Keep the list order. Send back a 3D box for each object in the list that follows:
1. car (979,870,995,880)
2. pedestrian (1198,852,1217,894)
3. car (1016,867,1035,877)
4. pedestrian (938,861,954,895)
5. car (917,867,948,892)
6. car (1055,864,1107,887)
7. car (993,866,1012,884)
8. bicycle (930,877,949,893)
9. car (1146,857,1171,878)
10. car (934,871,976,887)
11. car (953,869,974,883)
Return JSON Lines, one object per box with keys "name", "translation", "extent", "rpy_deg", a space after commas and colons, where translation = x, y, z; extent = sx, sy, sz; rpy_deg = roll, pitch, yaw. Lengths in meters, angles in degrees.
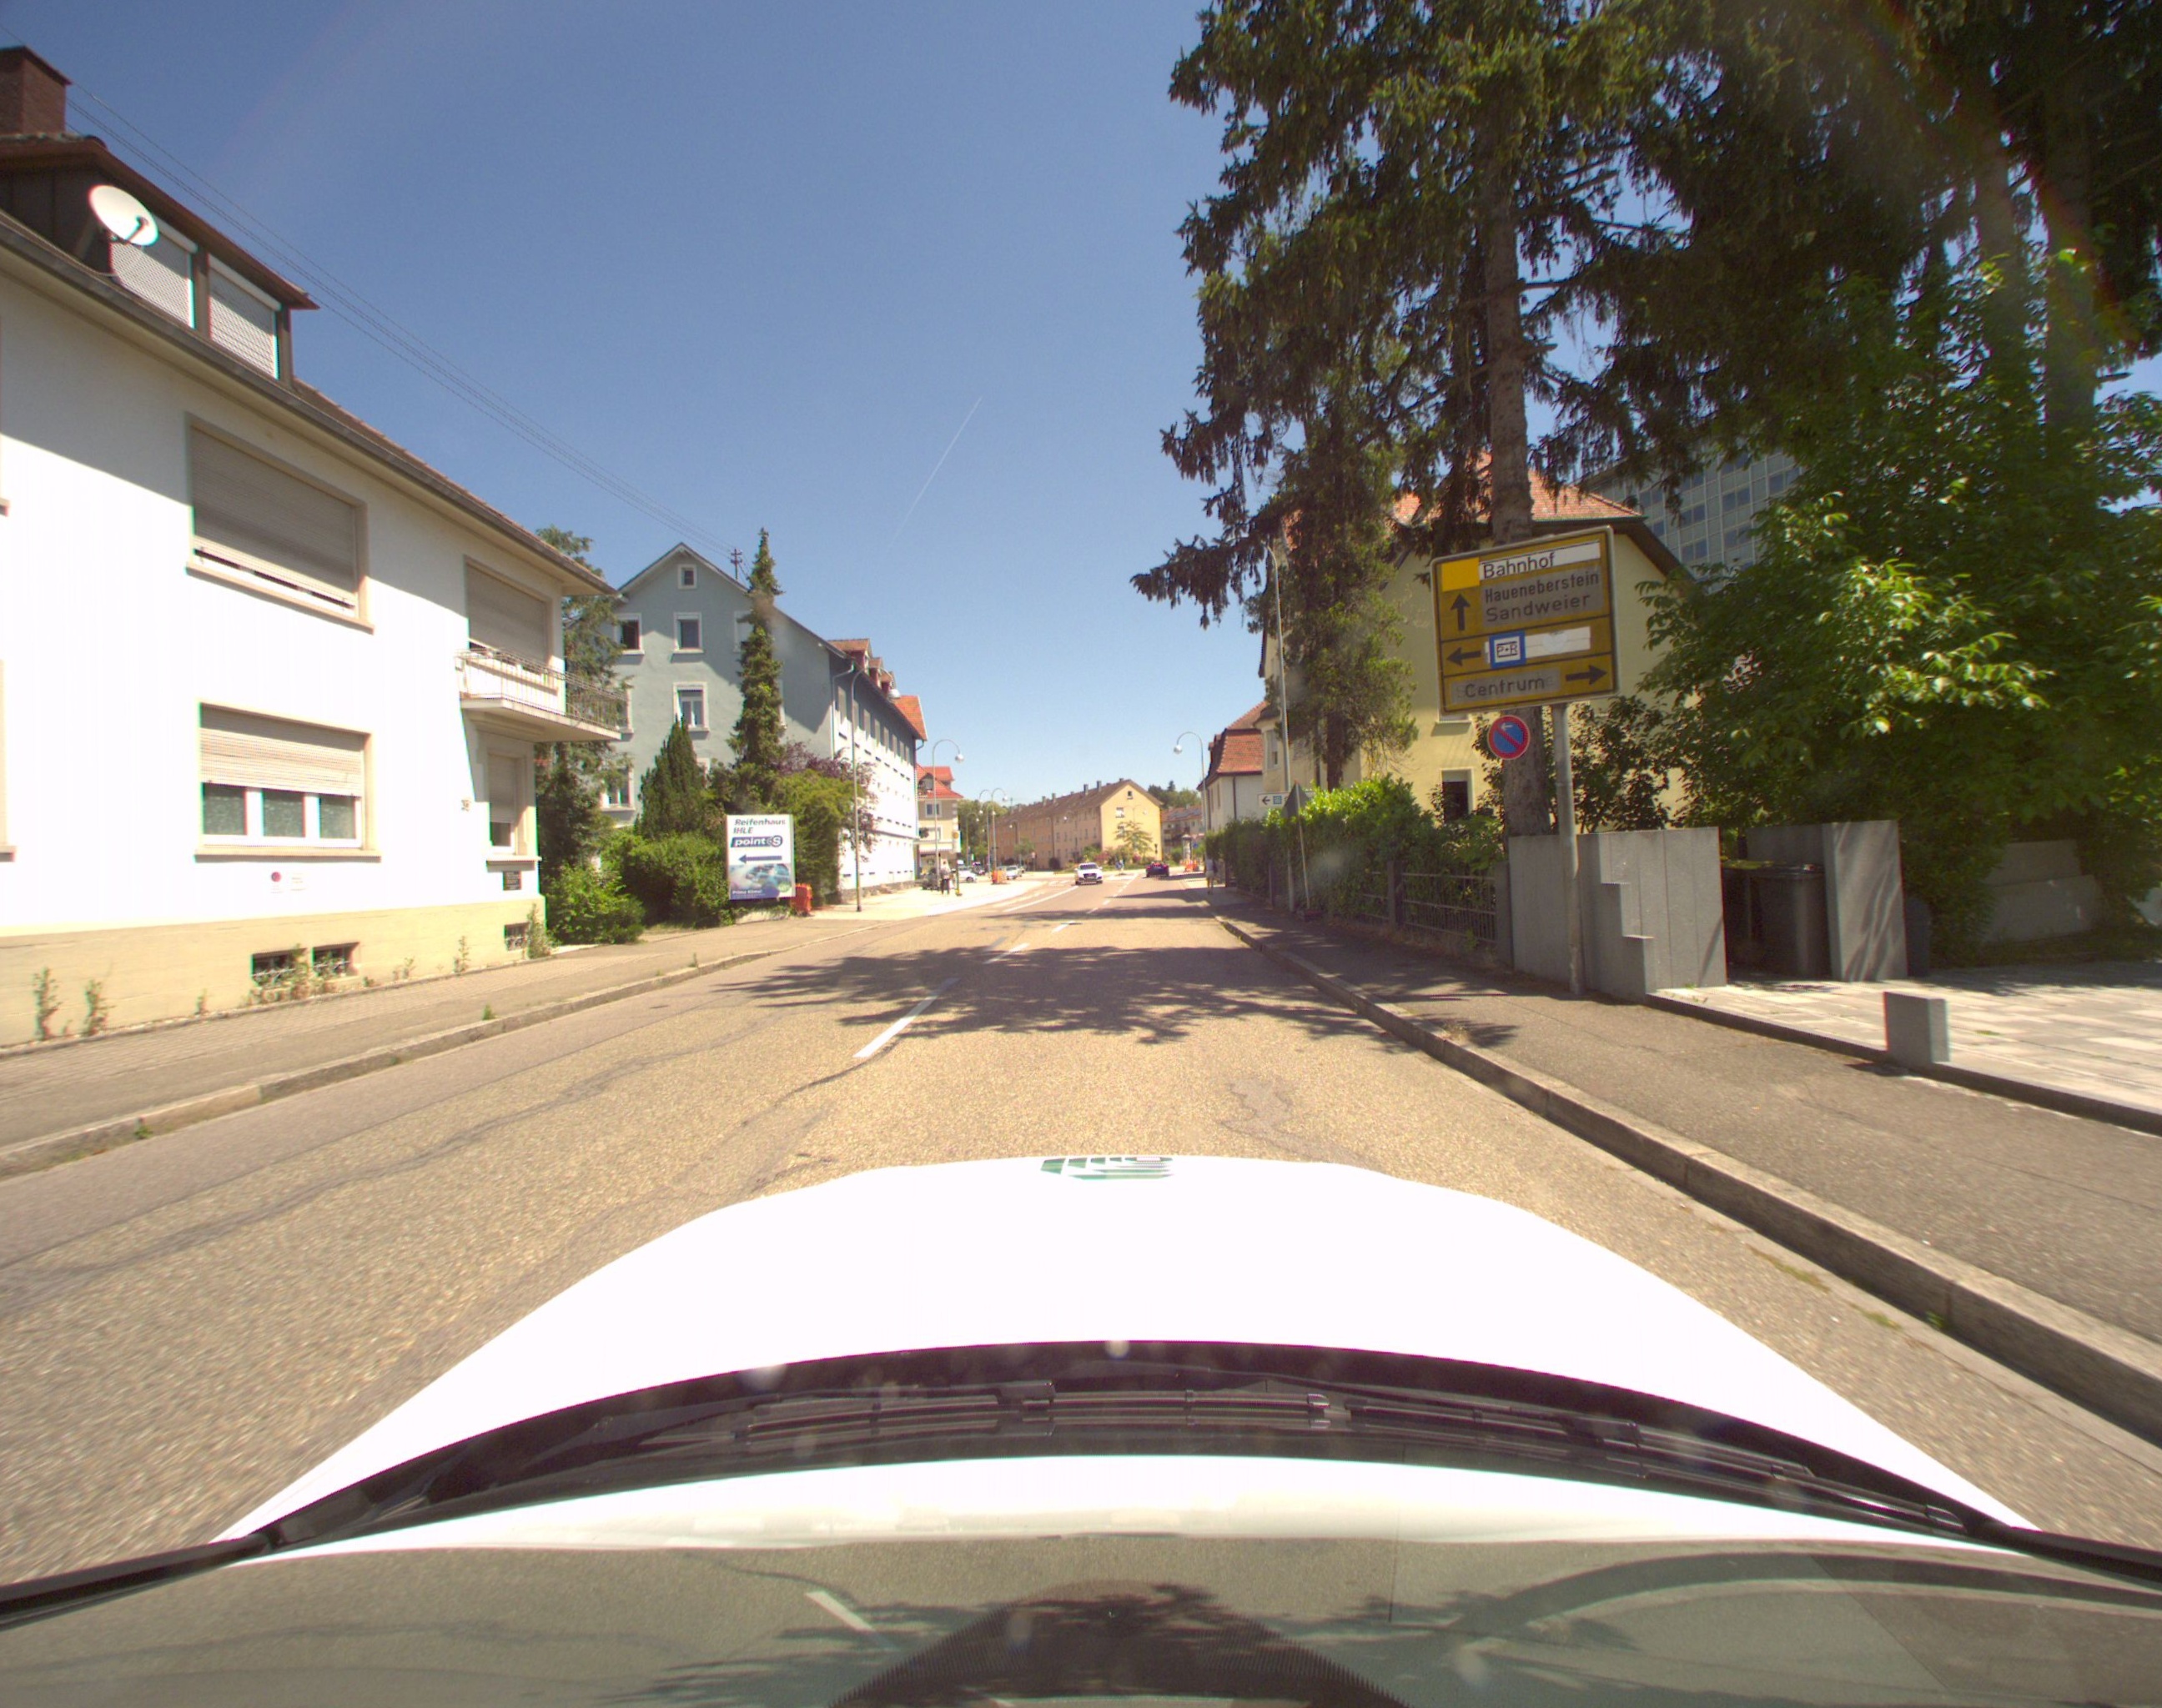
{"name": "car", "translation": [-17.097, 3.845, 148.271], "extent": [1.820, 1.794, 3.968], "rpy_deg": [1, -2, -24]}
{"name": "pedestrian", "translation": [5.107, 0.758, 32.888], "extent": [0.621, 1.644, 0.772], "rpy_deg": [-2, -2, 1]}
{"name": "car", "translation": [-9.083, 2.933, 132.949], "extent": [1.820, 1.500, 3.968], "rpy_deg": [1, -2, -24]}
{"name": "pedestrian", "translation": [-7.493, 1.314, 45.239], "extent": [0.754, 1.848, 0.771], "rpy_deg": [2, -2, -3]}
{"name": "car", "translation": [-9.638, 1.704, 53.175], "extent": [1.575, 1.534, 3.768], "rpy_deg": [-1, -3, -5]}
{"name": "car", "translation": [-0.062, 1.556, 58.245], "extent": [1.834, 1.530, 3.908], "rpy_deg": [0, -3, -34]}
{"name": "car", "translation": [-8.197, 2.183, 84.674], "extent": [1.780, 1.747, 4.116], "rpy_deg": [0, -2, -8]}
{"name": "bicycle", "translation": [-8.566, 1.871, 49.357], "extent": [0.493, 0.977, 1.978], "rpy_deg": [2, -1, 10]}
{"name": "car", "translation": [6.352, 1.122, 67.137], "extent": [1.863, 1.530, 4.509], "rpy_deg": [-2, -3, 3]}
{"name": "car", "translation": [-12.587, 2.466, 81.703], "extent": [4.111, 1.551, 1.782], "rpy_deg": [0, -2, -7]}
{"name": "car", "translation": [-14.833, 2.731, 102.860], "extent": [1.781, 1.686, 4.664], "rpy_deg": [-1, -1, -18]}
